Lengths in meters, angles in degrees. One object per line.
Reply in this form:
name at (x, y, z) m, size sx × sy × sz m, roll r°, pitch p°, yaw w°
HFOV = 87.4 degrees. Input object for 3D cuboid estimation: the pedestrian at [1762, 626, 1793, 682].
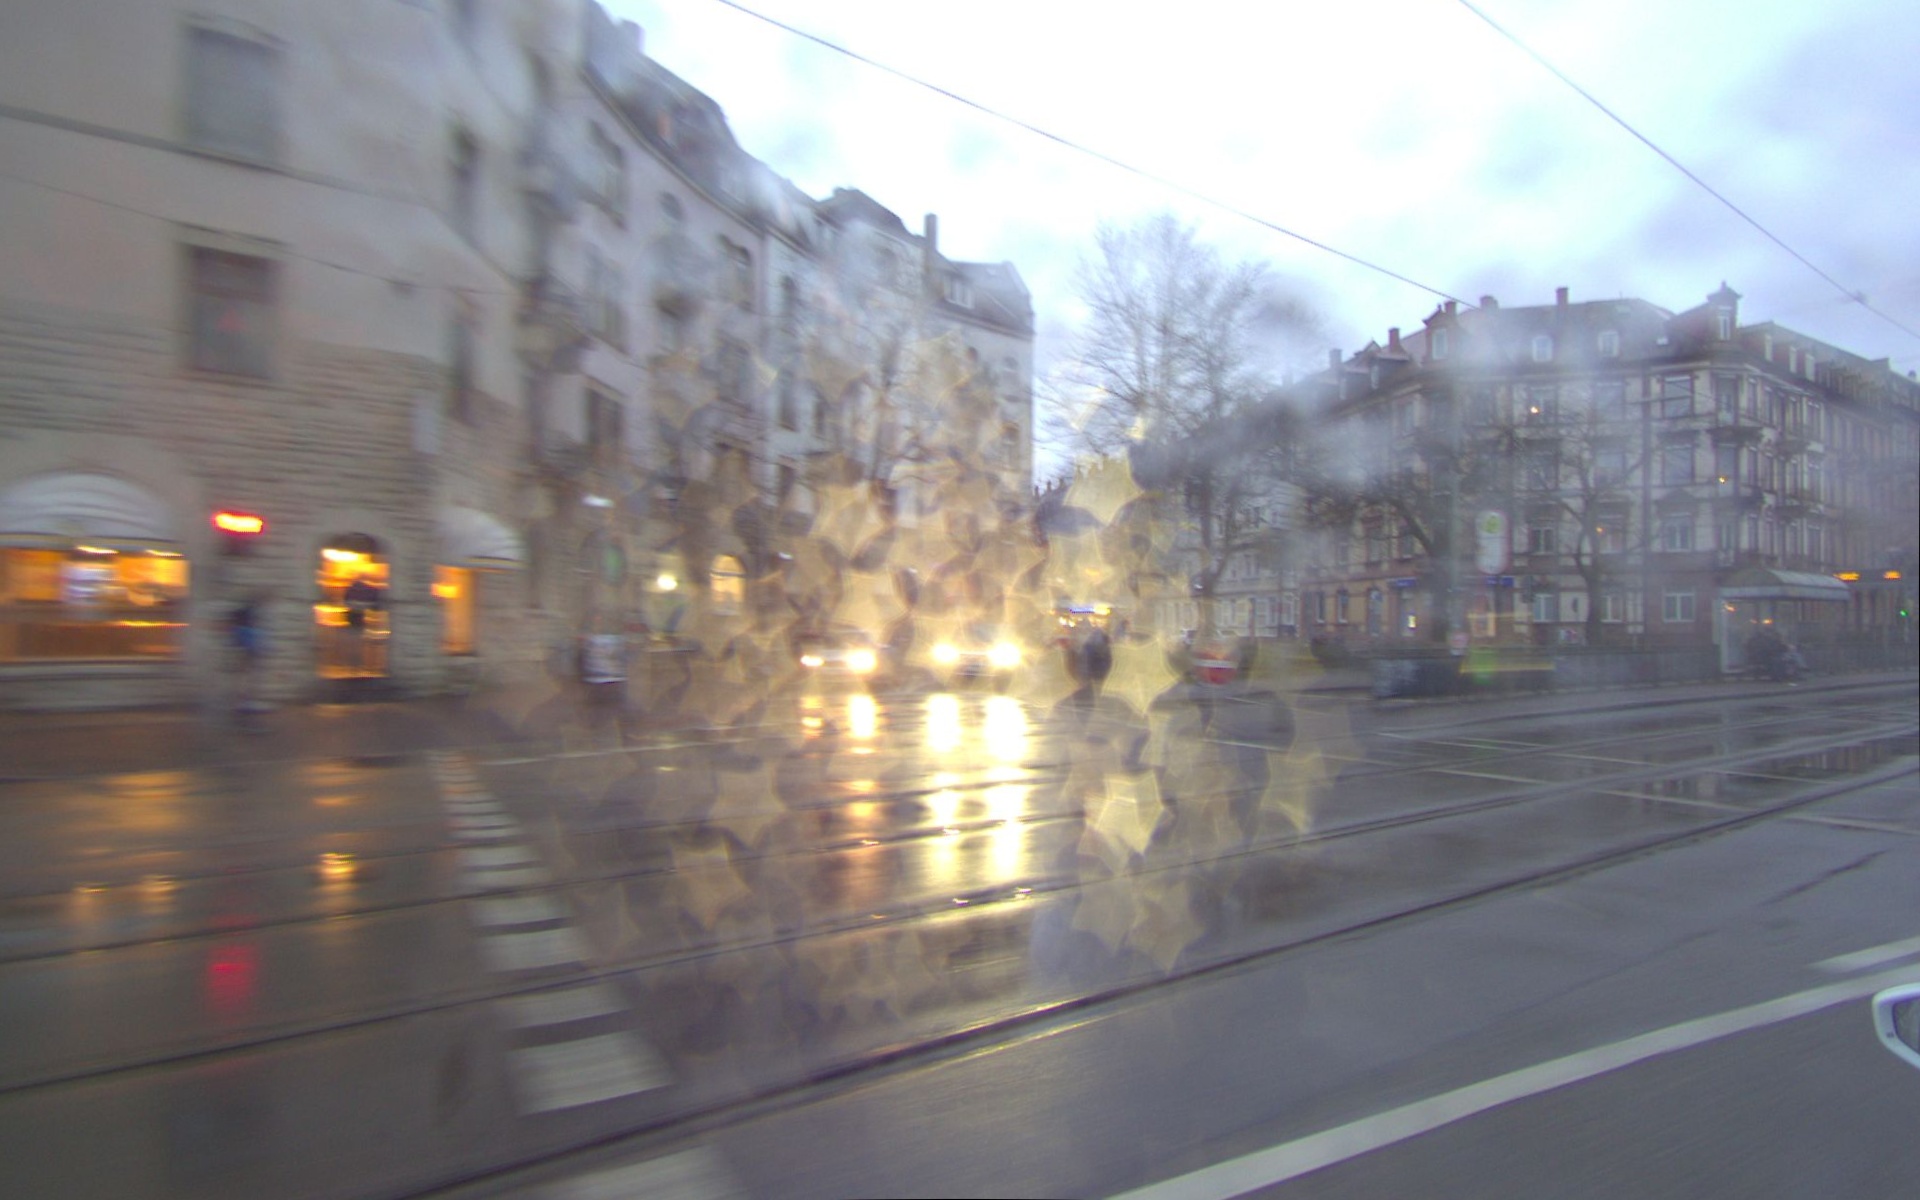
pedestrian at (21.240, 1.387, 26.095) m, size 0.449 × 1.422 × 0.470 m, roll 1°, pitch 1°, yaw -35°

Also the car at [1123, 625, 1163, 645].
car at (16.261, 3.113, 89.480) m, size 1.967 × 1.728 × 3.988 m, roll 0°, pitch -2°, yaw -15°

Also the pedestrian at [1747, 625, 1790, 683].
pedestrian at (20.797, 1.374, 25.846) m, size 0.572 × 1.422 × 0.679 m, roll 1°, pitch 1°, yaw -35°

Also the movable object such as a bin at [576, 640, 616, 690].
movable object such as a bin at (-8.597, 1.530, 23.715) m, size 0.678 × 1.150 × 0.649 m, roll 0°, pitch -1°, yaw 2°

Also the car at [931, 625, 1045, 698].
car at (0.837, 1.518, 26.241) m, size 1.898 × 1.604 × 4.345 m, roll 2°, pitch 0°, yaw 17°

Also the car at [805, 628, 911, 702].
car at (-2.468, 1.560, 25.226) m, size 1.581 × 1.492 × 3.828 m, roll 2°, pitch 1°, yaw 11°

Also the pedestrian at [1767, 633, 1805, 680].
pedestrian at (22.422, 1.521, 27.259) m, size 0.512 × 1.235 × 0.648 m, roll 1°, pitch 1°, yaw -35°

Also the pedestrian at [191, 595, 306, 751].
pedestrian at (-9.136, 0.911, 12.925) m, size 0.877 × 1.903 × 0.798 m, roll 2°, pitch 1°, yaw 1°

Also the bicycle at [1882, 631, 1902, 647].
bicycle at (50.853, 2.135, 54.786) m, size 1.830 × 0.873 × 0.397 m, roll 1°, pitch -1°, yaw -34°

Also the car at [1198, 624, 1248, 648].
car at (19.590, 2.670, 74.966) m, size 1.967 × 1.728 × 3.989 m, roll 0°, pitch -2°, yaw -15°

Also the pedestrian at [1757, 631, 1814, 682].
pedestrian at (22.061, 1.493, 26.844) m, size 0.501 × 1.271 × 1.049 m, roll 1°, pitch 1°, yaw -34°
